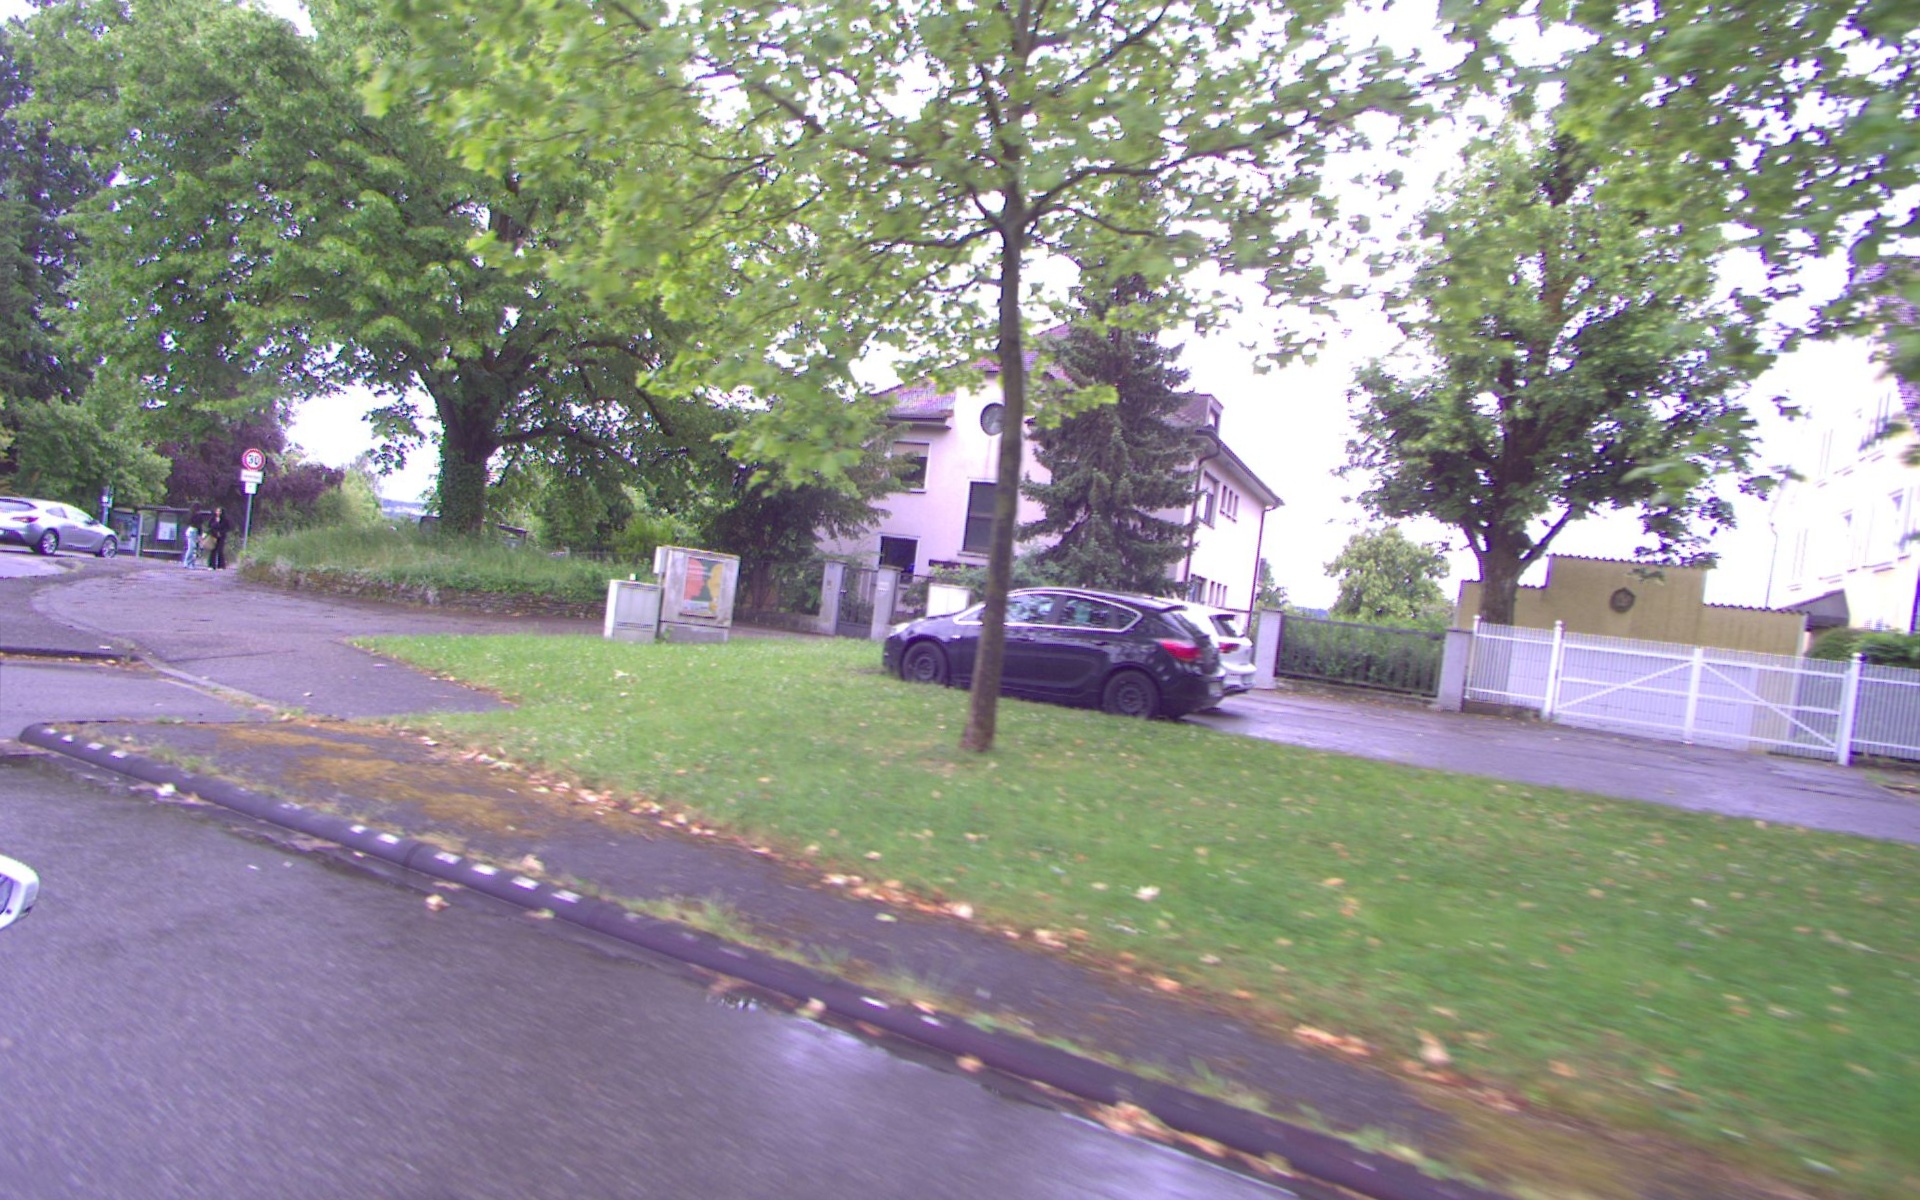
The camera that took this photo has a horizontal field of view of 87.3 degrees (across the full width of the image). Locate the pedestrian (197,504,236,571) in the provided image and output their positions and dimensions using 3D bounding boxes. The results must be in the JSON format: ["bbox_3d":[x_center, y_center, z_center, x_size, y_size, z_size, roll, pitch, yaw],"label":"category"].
[{"bbox_3d":[-20.201,-1.691,27.343,0.632,1.733,0.523,7,-1,-43],"label":"pedestrian"}]

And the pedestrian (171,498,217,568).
[{"bbox_3d":[-20.109,-1.750,26.413,0.624,1.733,0.530,7,-1,16],"label":"pedestrian"}]

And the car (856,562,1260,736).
[{"bbox_3d":[1.127,0.494,12.346,4.520,1.490,1.766,6,2,29],"label":"car"}]

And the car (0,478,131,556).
[{"bbox_3d":[-25.025,-2.257,27.607,1.742,1.824,4.233,6,0,-14],"label":"car"}]

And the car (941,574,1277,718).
[{"bbox_3d":[2.124,0.594,14.610,4.349,1.490,1.847,6,1,29],"label":"car"}]
